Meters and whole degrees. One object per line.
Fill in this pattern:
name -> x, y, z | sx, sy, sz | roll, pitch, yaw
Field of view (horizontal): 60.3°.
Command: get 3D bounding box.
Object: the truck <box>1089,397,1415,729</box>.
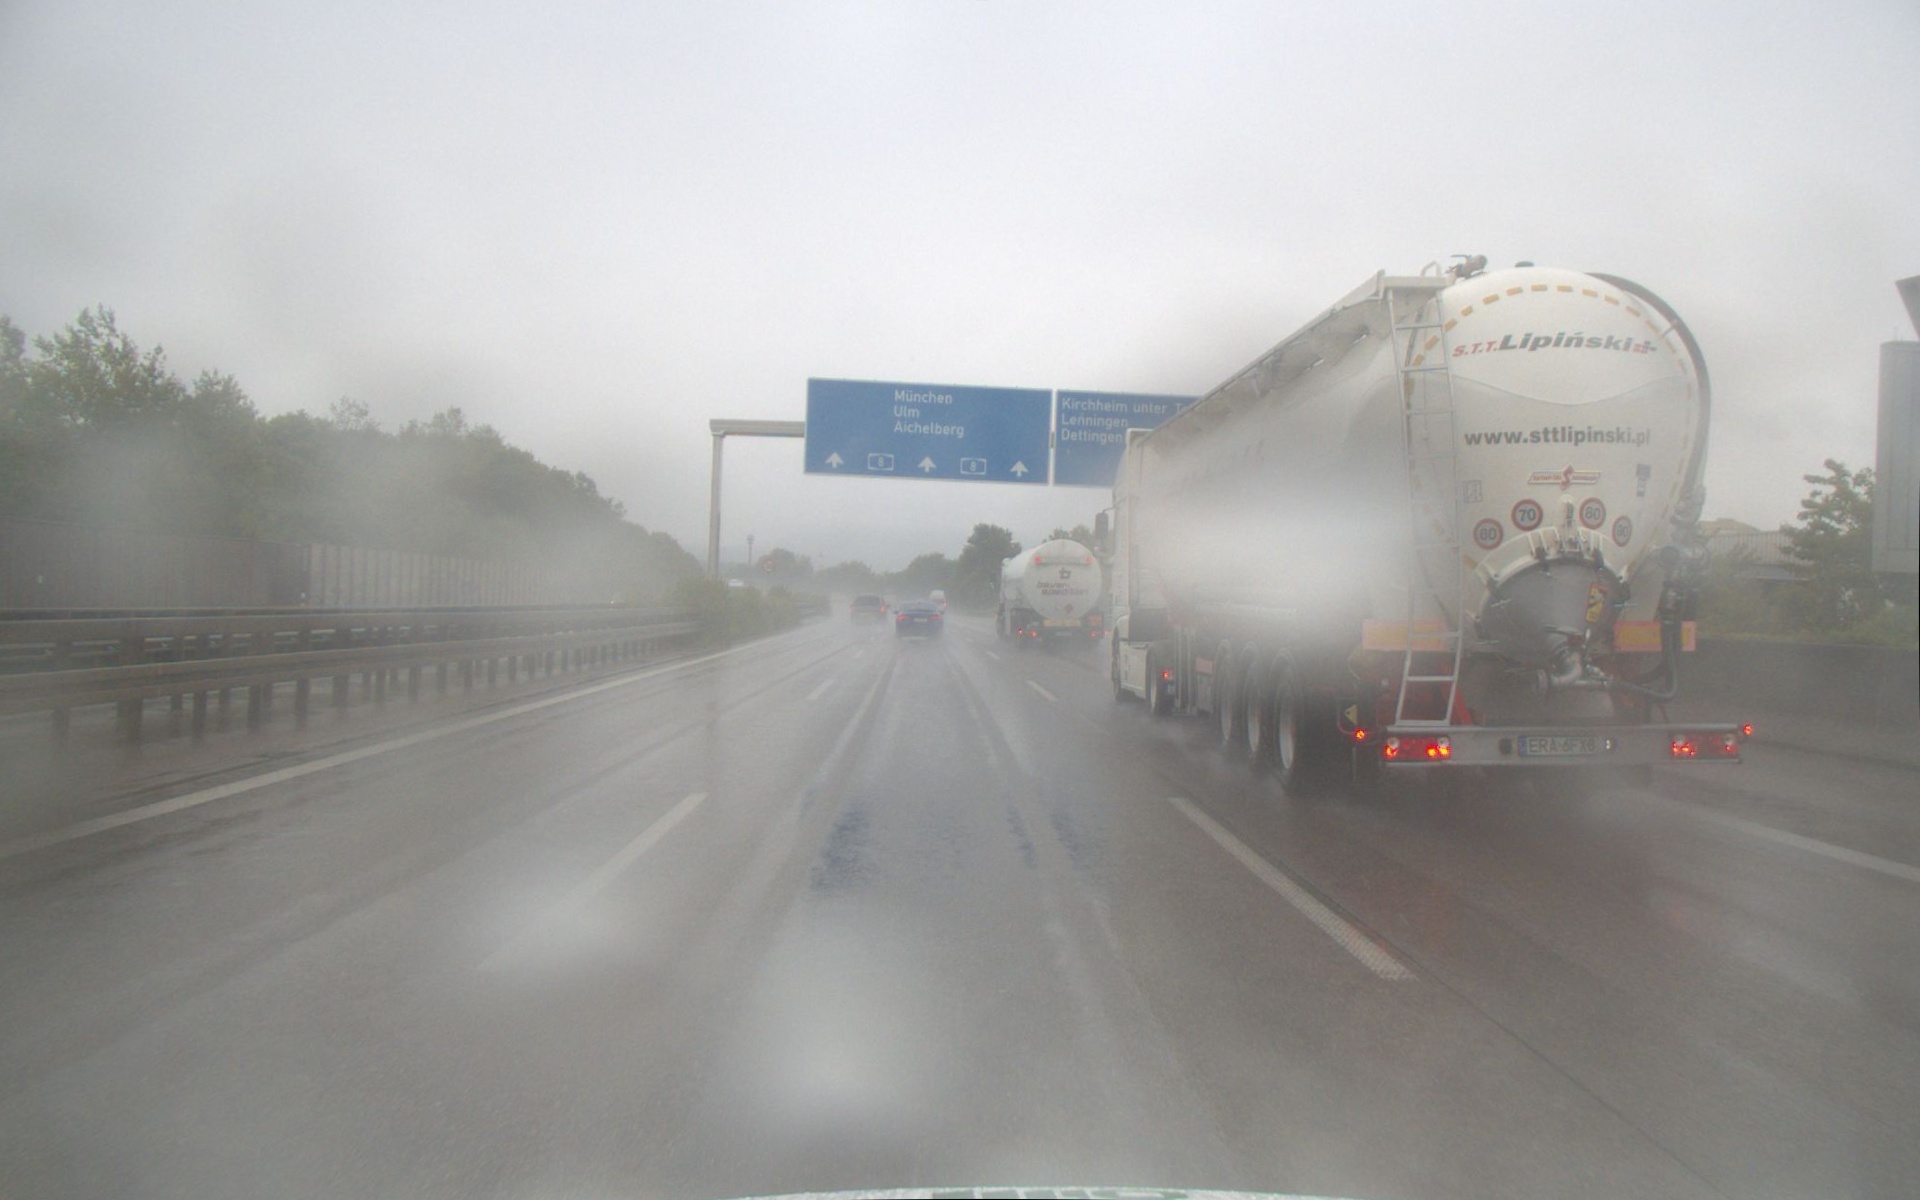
truck -> 3.734, -0.448, 23.147 | 3.042, 3.873, 7.209 | 1, 0, -2

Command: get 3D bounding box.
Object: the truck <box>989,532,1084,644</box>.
truck -> 2.680, -0.416, 59.584 | 2.884, 3.749, 6.359 | 1, 0, -2

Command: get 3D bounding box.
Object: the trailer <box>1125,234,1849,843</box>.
trailer -> 3.868, -0.411, 16.119 | 3.124, 3.734, 11.664 | 1, 0, -1

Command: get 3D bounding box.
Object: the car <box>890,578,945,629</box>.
car -> -1.549, 0.118, 61.673 | 1.938, 1.787, 4.481 | 1, 0, 0

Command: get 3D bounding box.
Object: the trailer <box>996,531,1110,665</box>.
trailer -> 2.841, -0.062, 53.289 | 2.944, 3.915, 8.621 | 1, 0, -1

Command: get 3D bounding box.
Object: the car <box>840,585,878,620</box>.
car -> -5.245, 0.112, 85.612 | 1.887, 1.771, 4.400 | 1, 0, -4
